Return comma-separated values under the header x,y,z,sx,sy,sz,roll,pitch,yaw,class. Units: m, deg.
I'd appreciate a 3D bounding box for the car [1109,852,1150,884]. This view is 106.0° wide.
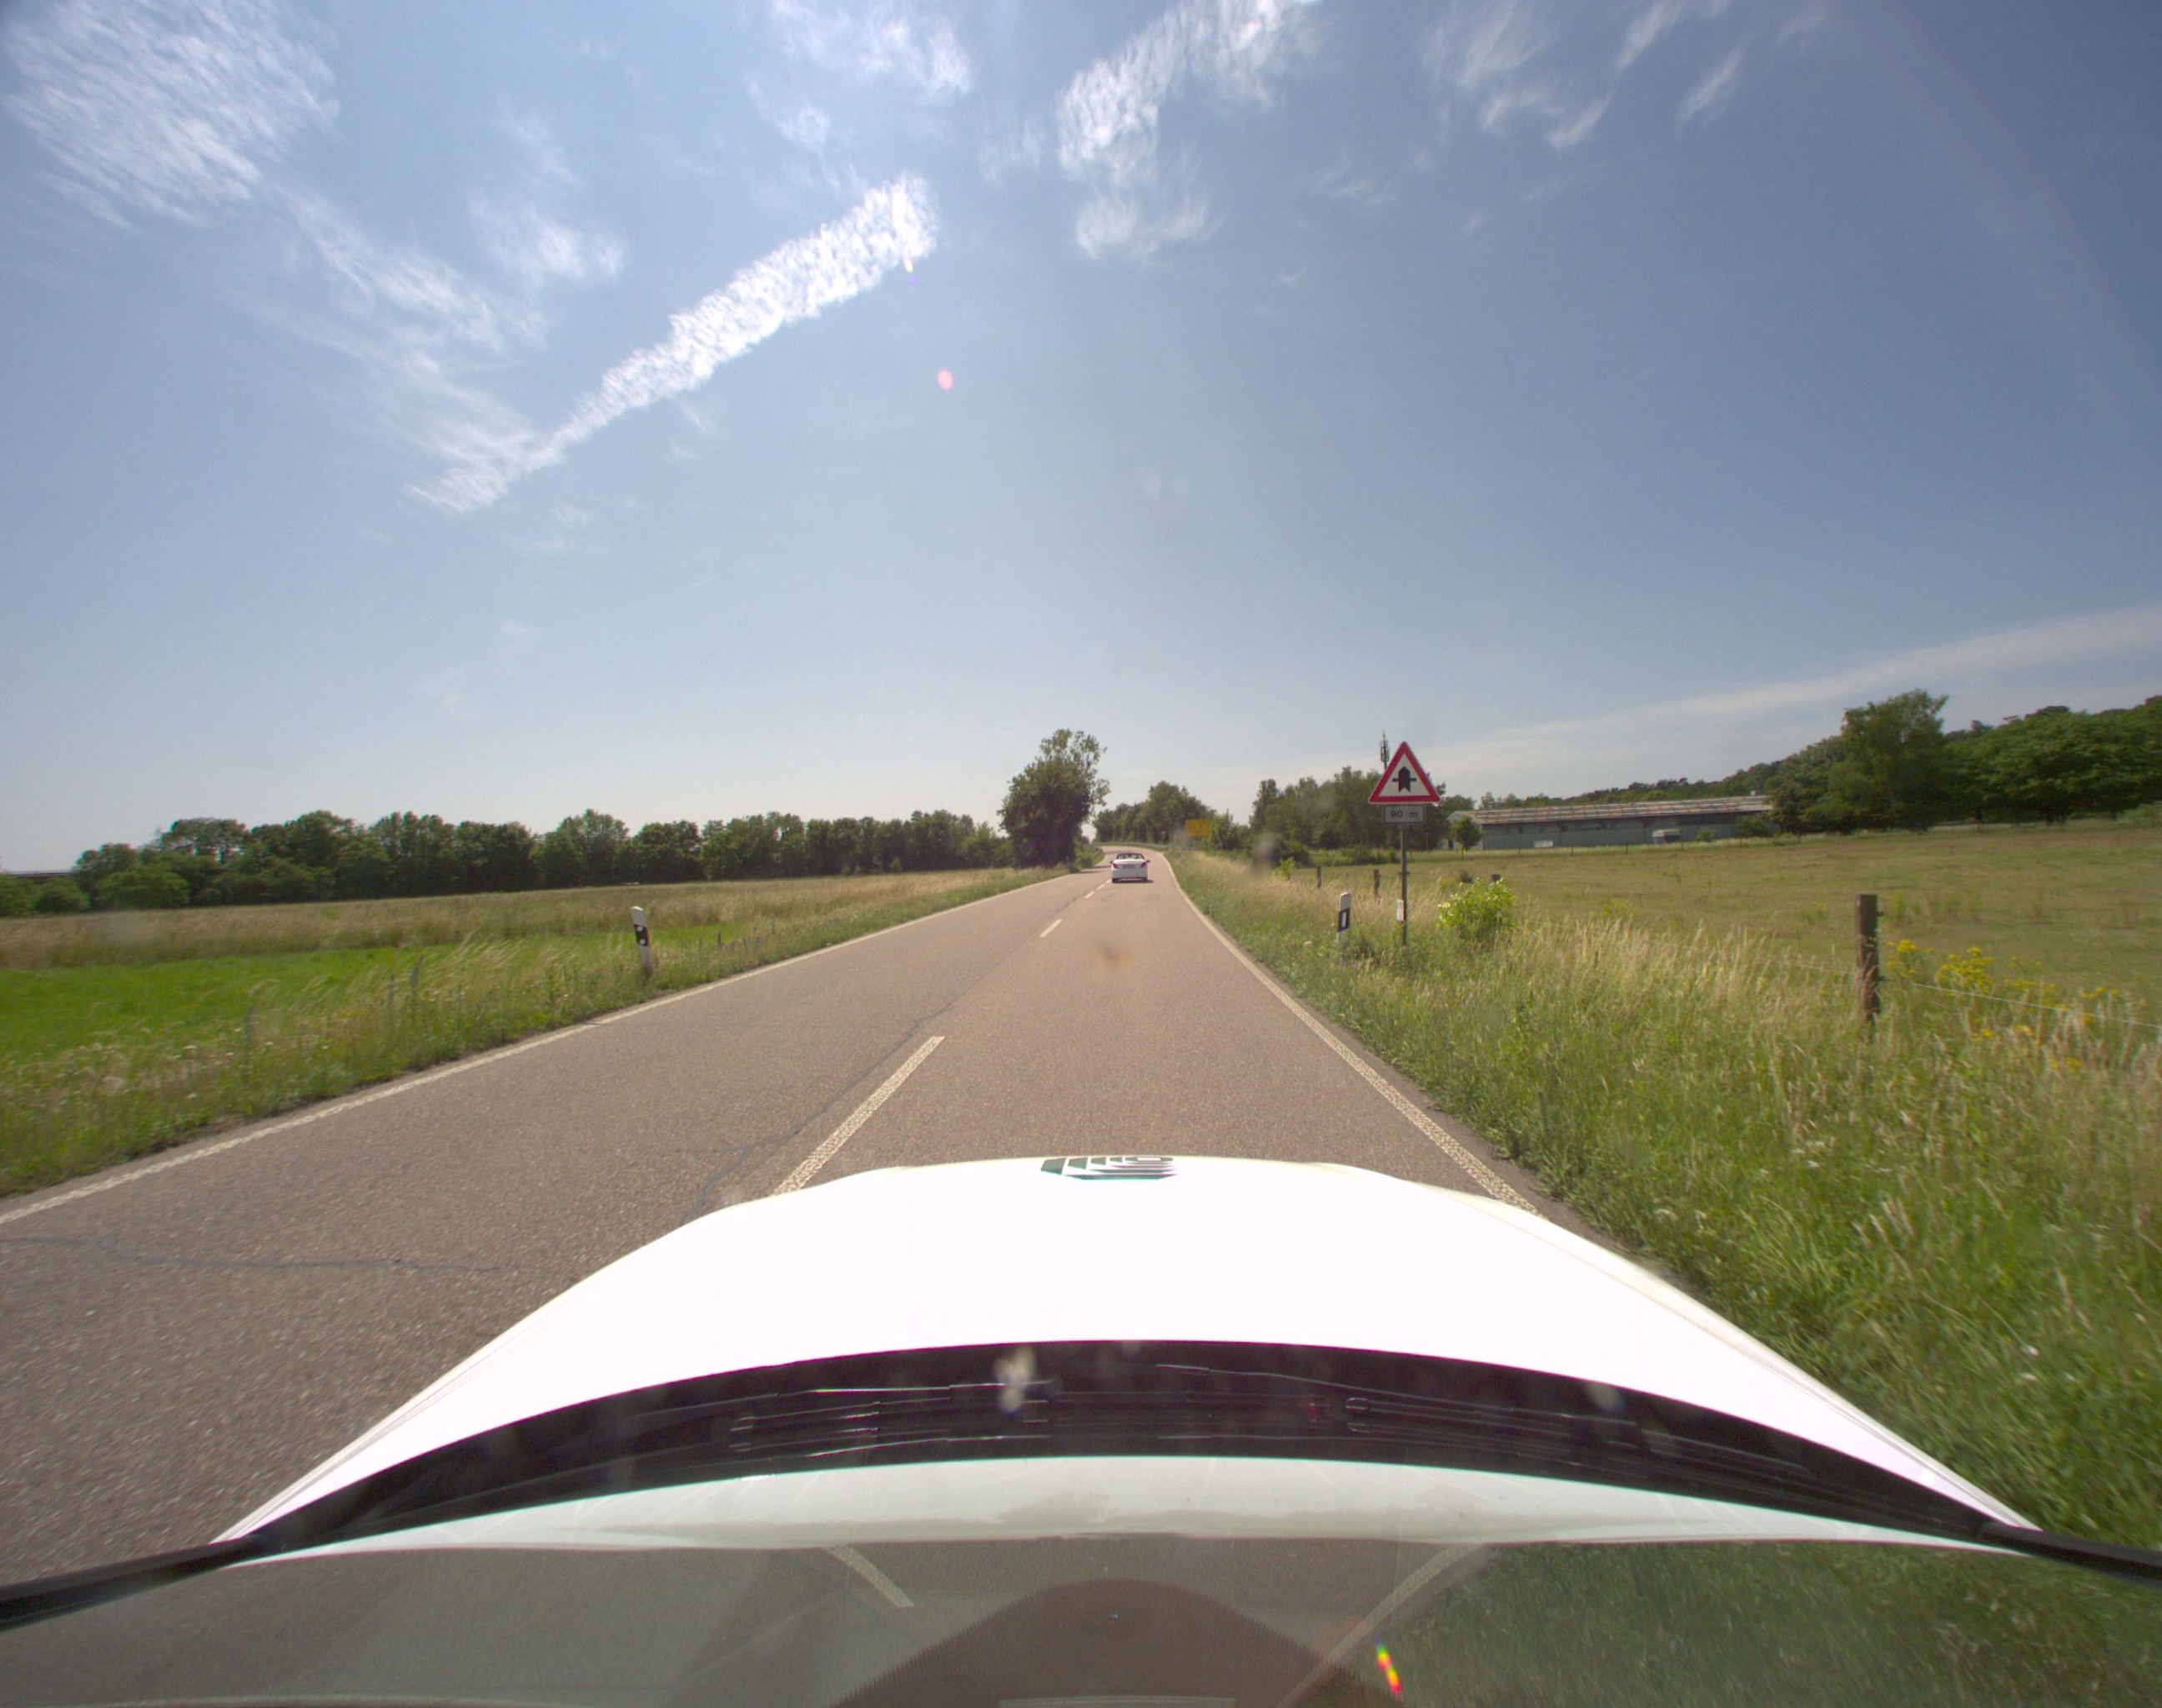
x,y,z,sx,sy,sz,roll,pitch,yaw,class
2.361,0.628,39.572,1.843,1.379,4.004,-3,1,3,car
